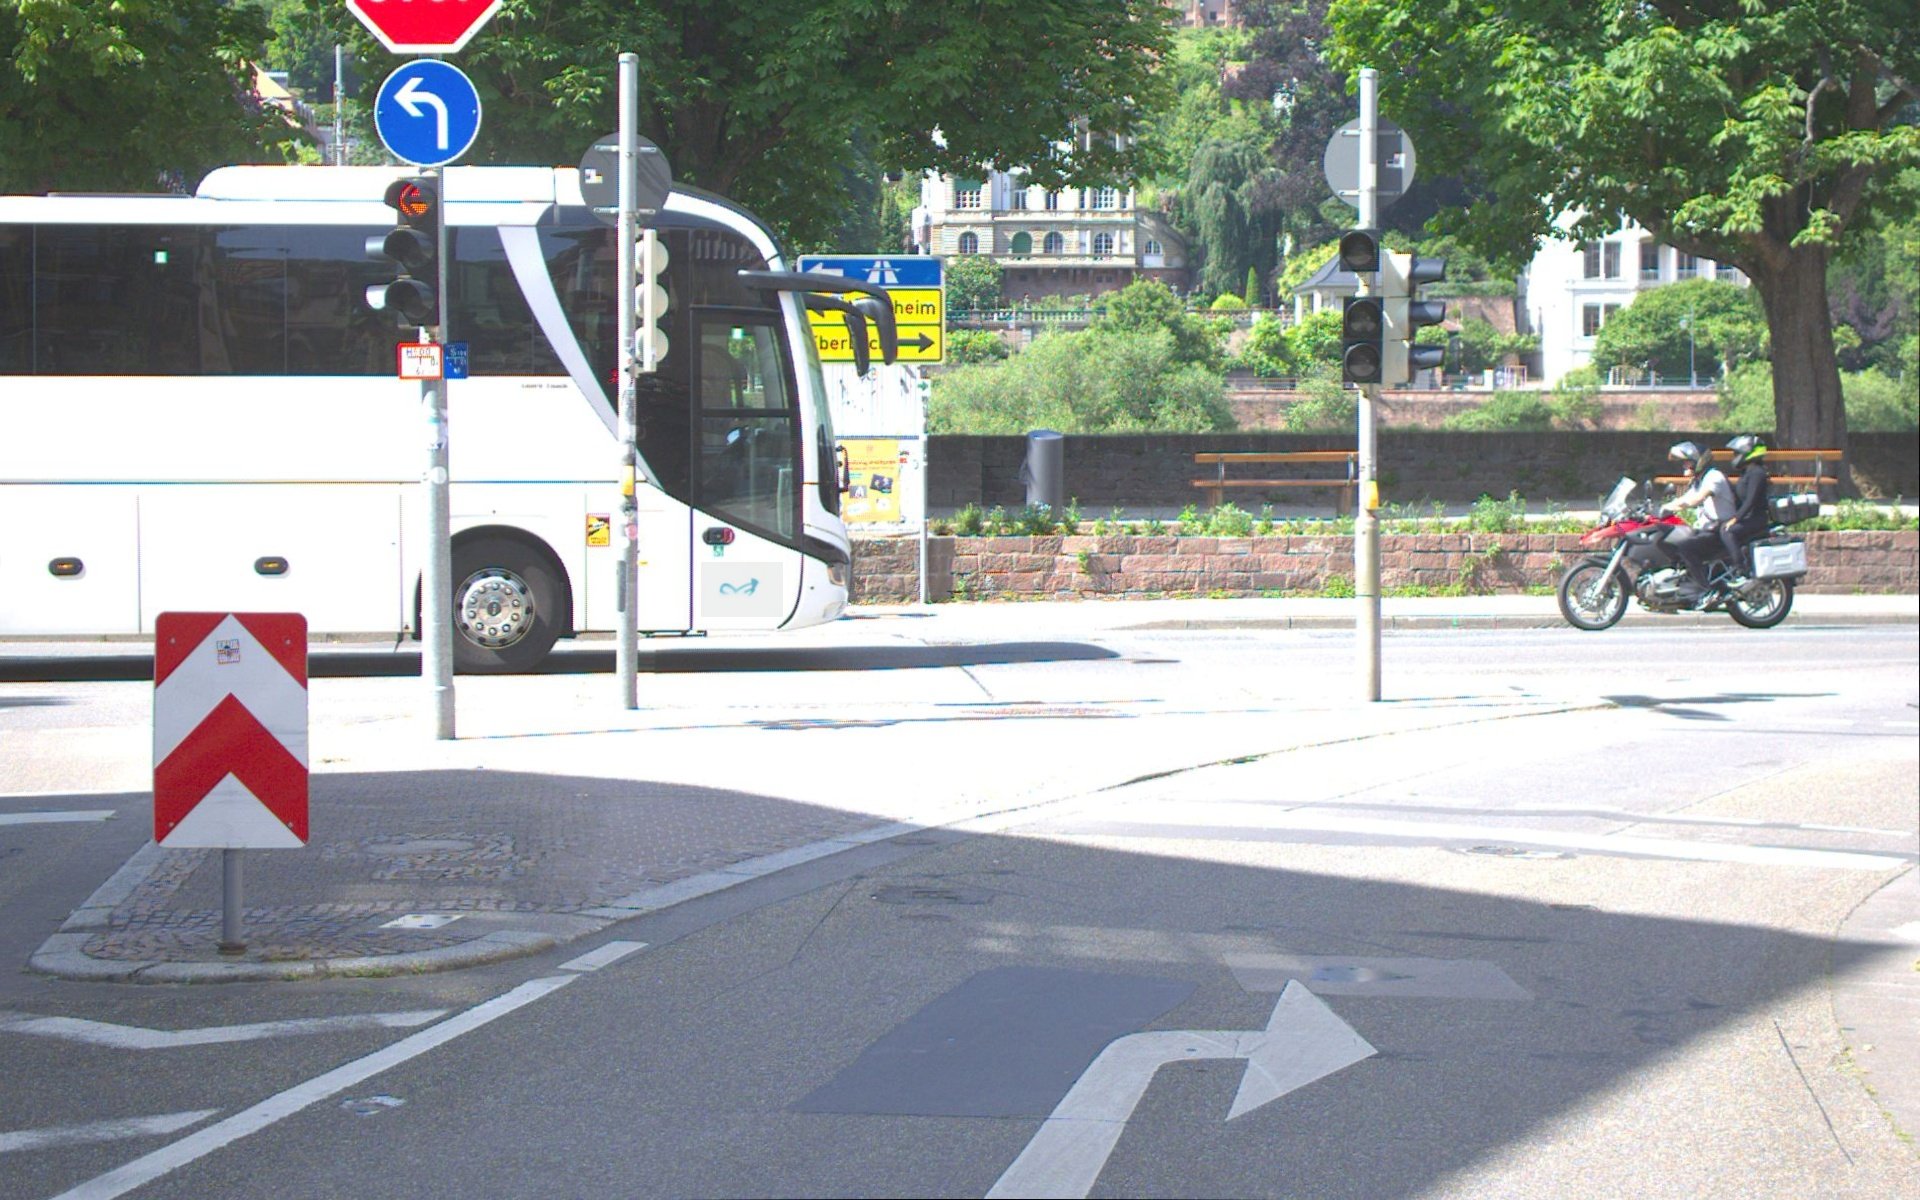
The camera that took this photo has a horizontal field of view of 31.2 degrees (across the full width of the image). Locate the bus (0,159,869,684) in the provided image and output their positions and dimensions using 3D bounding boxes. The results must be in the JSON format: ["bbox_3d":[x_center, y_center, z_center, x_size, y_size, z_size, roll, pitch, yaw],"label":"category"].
[{"bbox_3d":[-6.889,-1.330,26.249,12.137,3.775,2.908,0,2,-7],"label":"bus"}]

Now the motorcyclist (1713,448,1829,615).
[{"bbox_3d":[7.337,-0.627,31.142,0.770,1.488,0.819,-1,2,-8],"label":"motorcyclist"}]

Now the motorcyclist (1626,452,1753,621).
[{"bbox_3d":[6.575,-0.577,31.000,0.871,1.489,0.819,-1,2,-8],"label":"motorcyclist"}]

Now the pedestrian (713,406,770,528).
[{"bbox_3d":[-2.388,-1.447,37.495,0.553,1.275,0.704,2,-1,-6],"label":"pedestrian"}]

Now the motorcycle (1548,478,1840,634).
[{"bbox_3d":[6.617,-0.409,31.034,2.463,1.371,0.764,-1,2,-8],"label":"motorcycle"}]

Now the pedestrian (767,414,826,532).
[{"bbox_3d":[-1.800,-1.388,37.817,0.553,1.224,0.986,2,-1,-6],"label":"pedestrian"}]
